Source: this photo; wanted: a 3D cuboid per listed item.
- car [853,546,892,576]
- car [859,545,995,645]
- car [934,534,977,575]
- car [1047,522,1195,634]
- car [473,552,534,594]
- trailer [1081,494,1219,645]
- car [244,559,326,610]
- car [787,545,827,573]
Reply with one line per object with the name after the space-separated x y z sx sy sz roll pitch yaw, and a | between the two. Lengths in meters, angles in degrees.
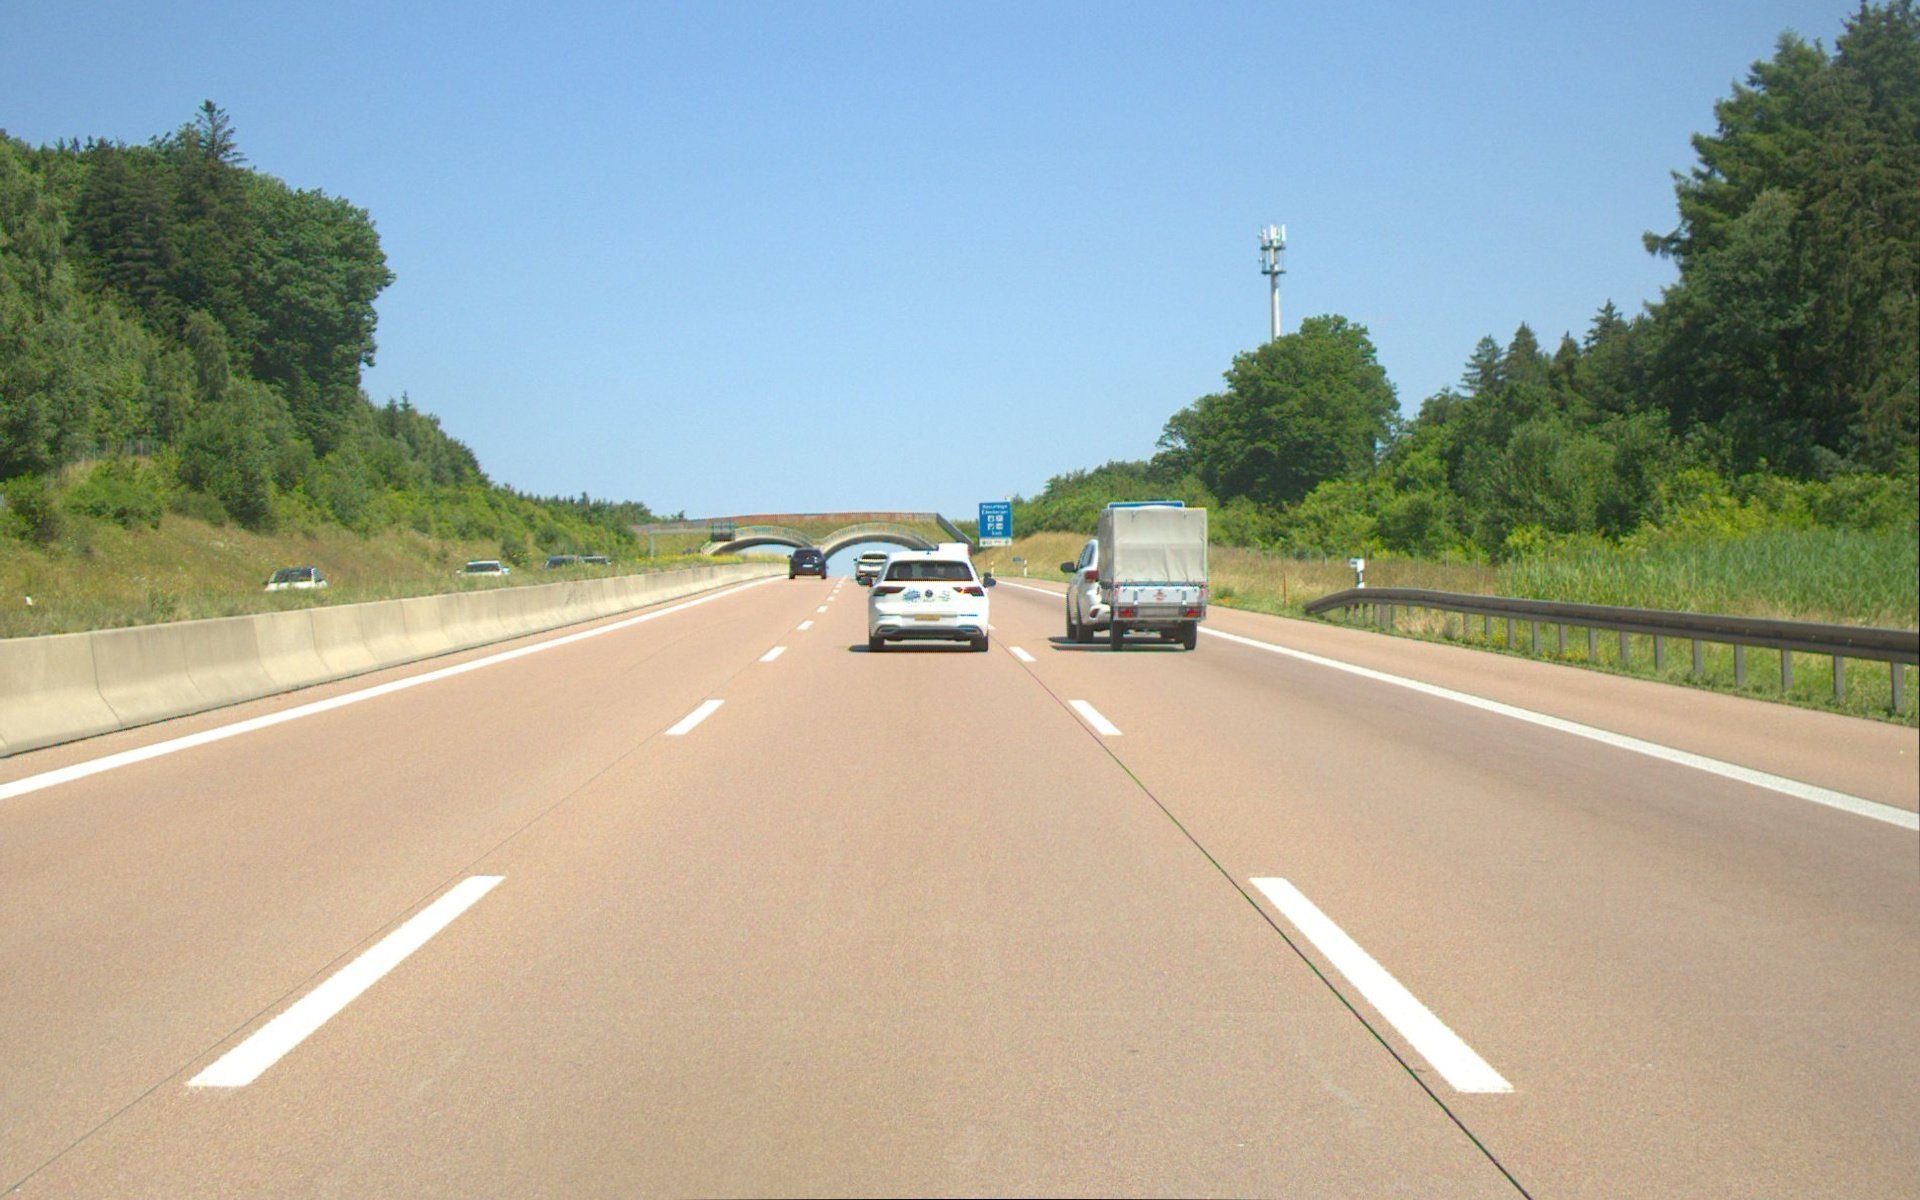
-4.316 -1.941 170.640 1.891 1.458 4.000 1 1 -1 | car
-0.528 -0.099 50.502 1.890 1.393 4.000 1 1 -2 | car
-0.226 -2.298 172.863 2.110 2.047 4.000 0 1 1 | car
2.551 -0.377 55.516 1.890 1.722 5.187 0 1 -3 | car
-17.714 -1.064 133.544 1.890 1.588 4.464 0 1 -1 | car
2.778 -0.456 50.969 1.657 2.156 4.016 0 1 -3 | trailer
-21.911 -0.533 111.719 1.890 1.588 4.464 0 1 -1 | car
-7.914 -2.133 178.137 1.891 1.458 4.000 0 1 1 | car
